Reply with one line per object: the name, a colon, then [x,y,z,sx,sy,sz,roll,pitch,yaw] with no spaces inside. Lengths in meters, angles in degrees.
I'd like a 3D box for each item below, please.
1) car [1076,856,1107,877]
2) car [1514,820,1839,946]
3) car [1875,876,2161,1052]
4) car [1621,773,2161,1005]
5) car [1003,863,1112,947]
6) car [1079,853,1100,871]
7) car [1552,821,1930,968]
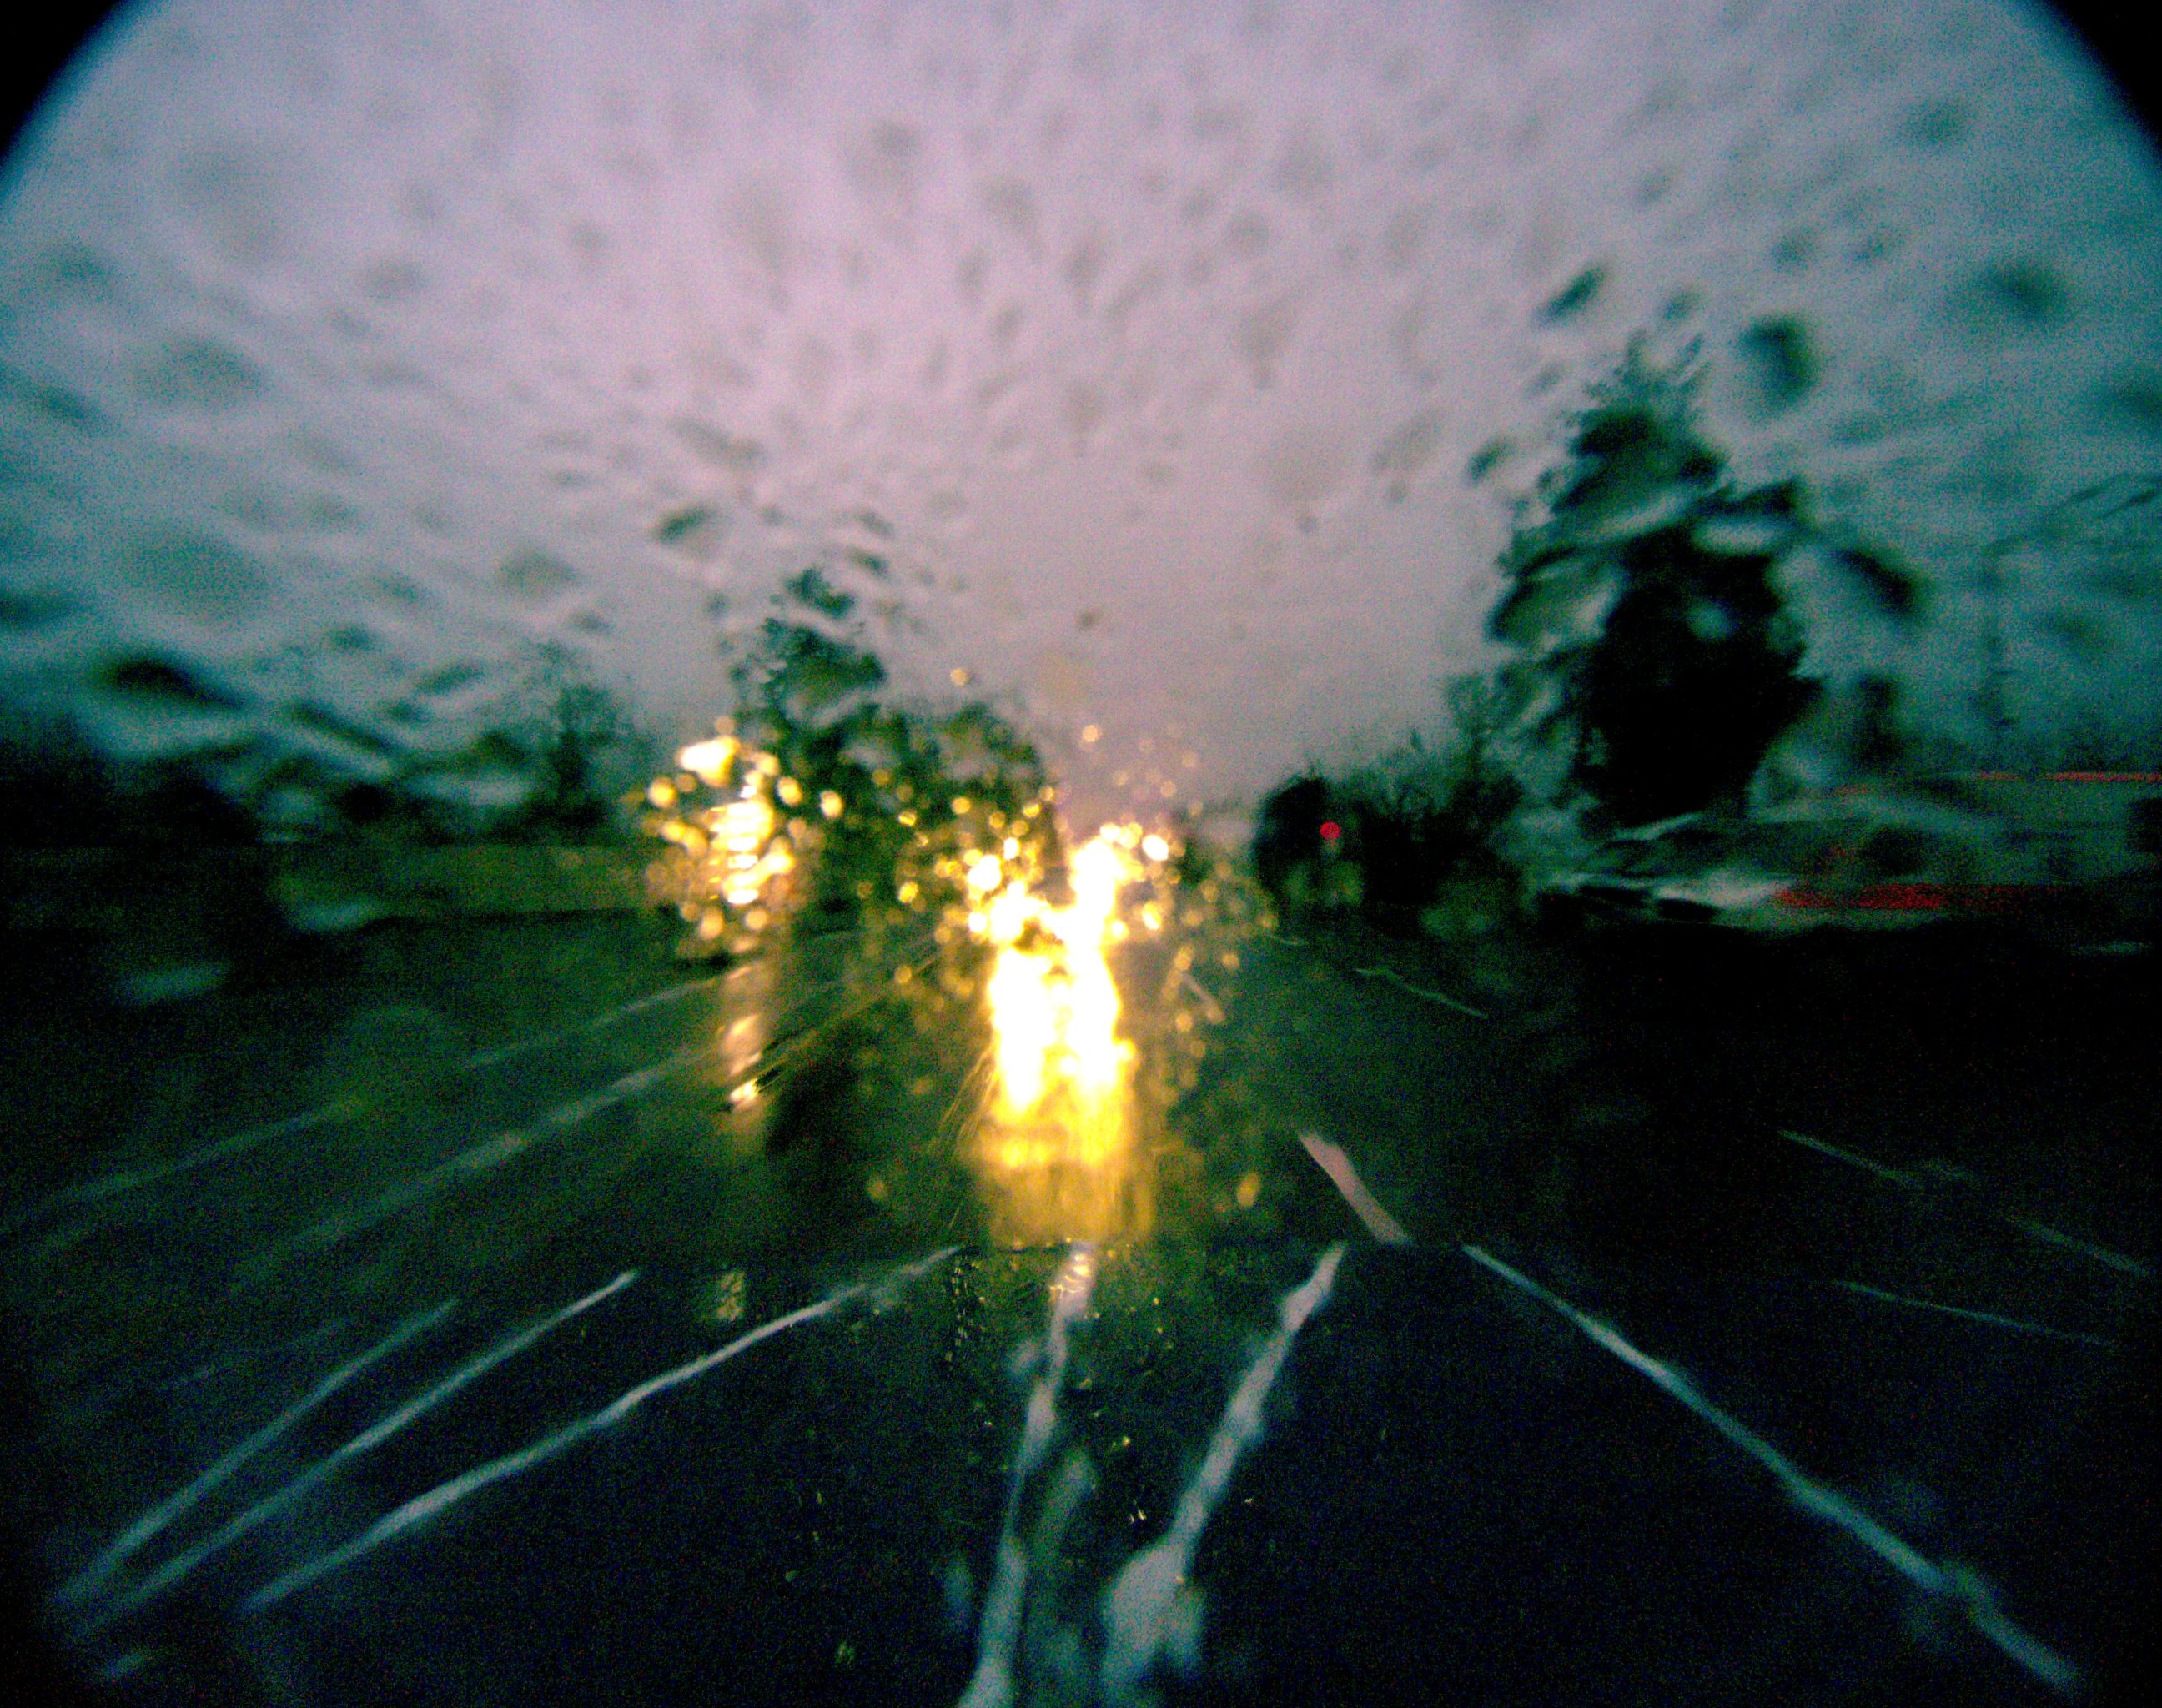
car: [0.752,0.902,57.145,2.016,1.484,3.998,-1,0,-4]
car: [12.050,0.577,15.631,5.115,2.376,2.080,1,0,-2]
car: [11.307,1.012,7.558,4.761,1.474,1.955,1,0,0]
car: [10.852,0.416,9.818,6.172,2.616,2.176,1,0,0]
car: [-0.584,0.975,16.328,2.016,1.484,3.998,-2,0,-4]
car: [0.830,0.749,74.260,1.933,1.701,4.000,-1,0,1]
car: [10.955,0.645,12.896,4.678,2.259,1.987,1,0,0]
